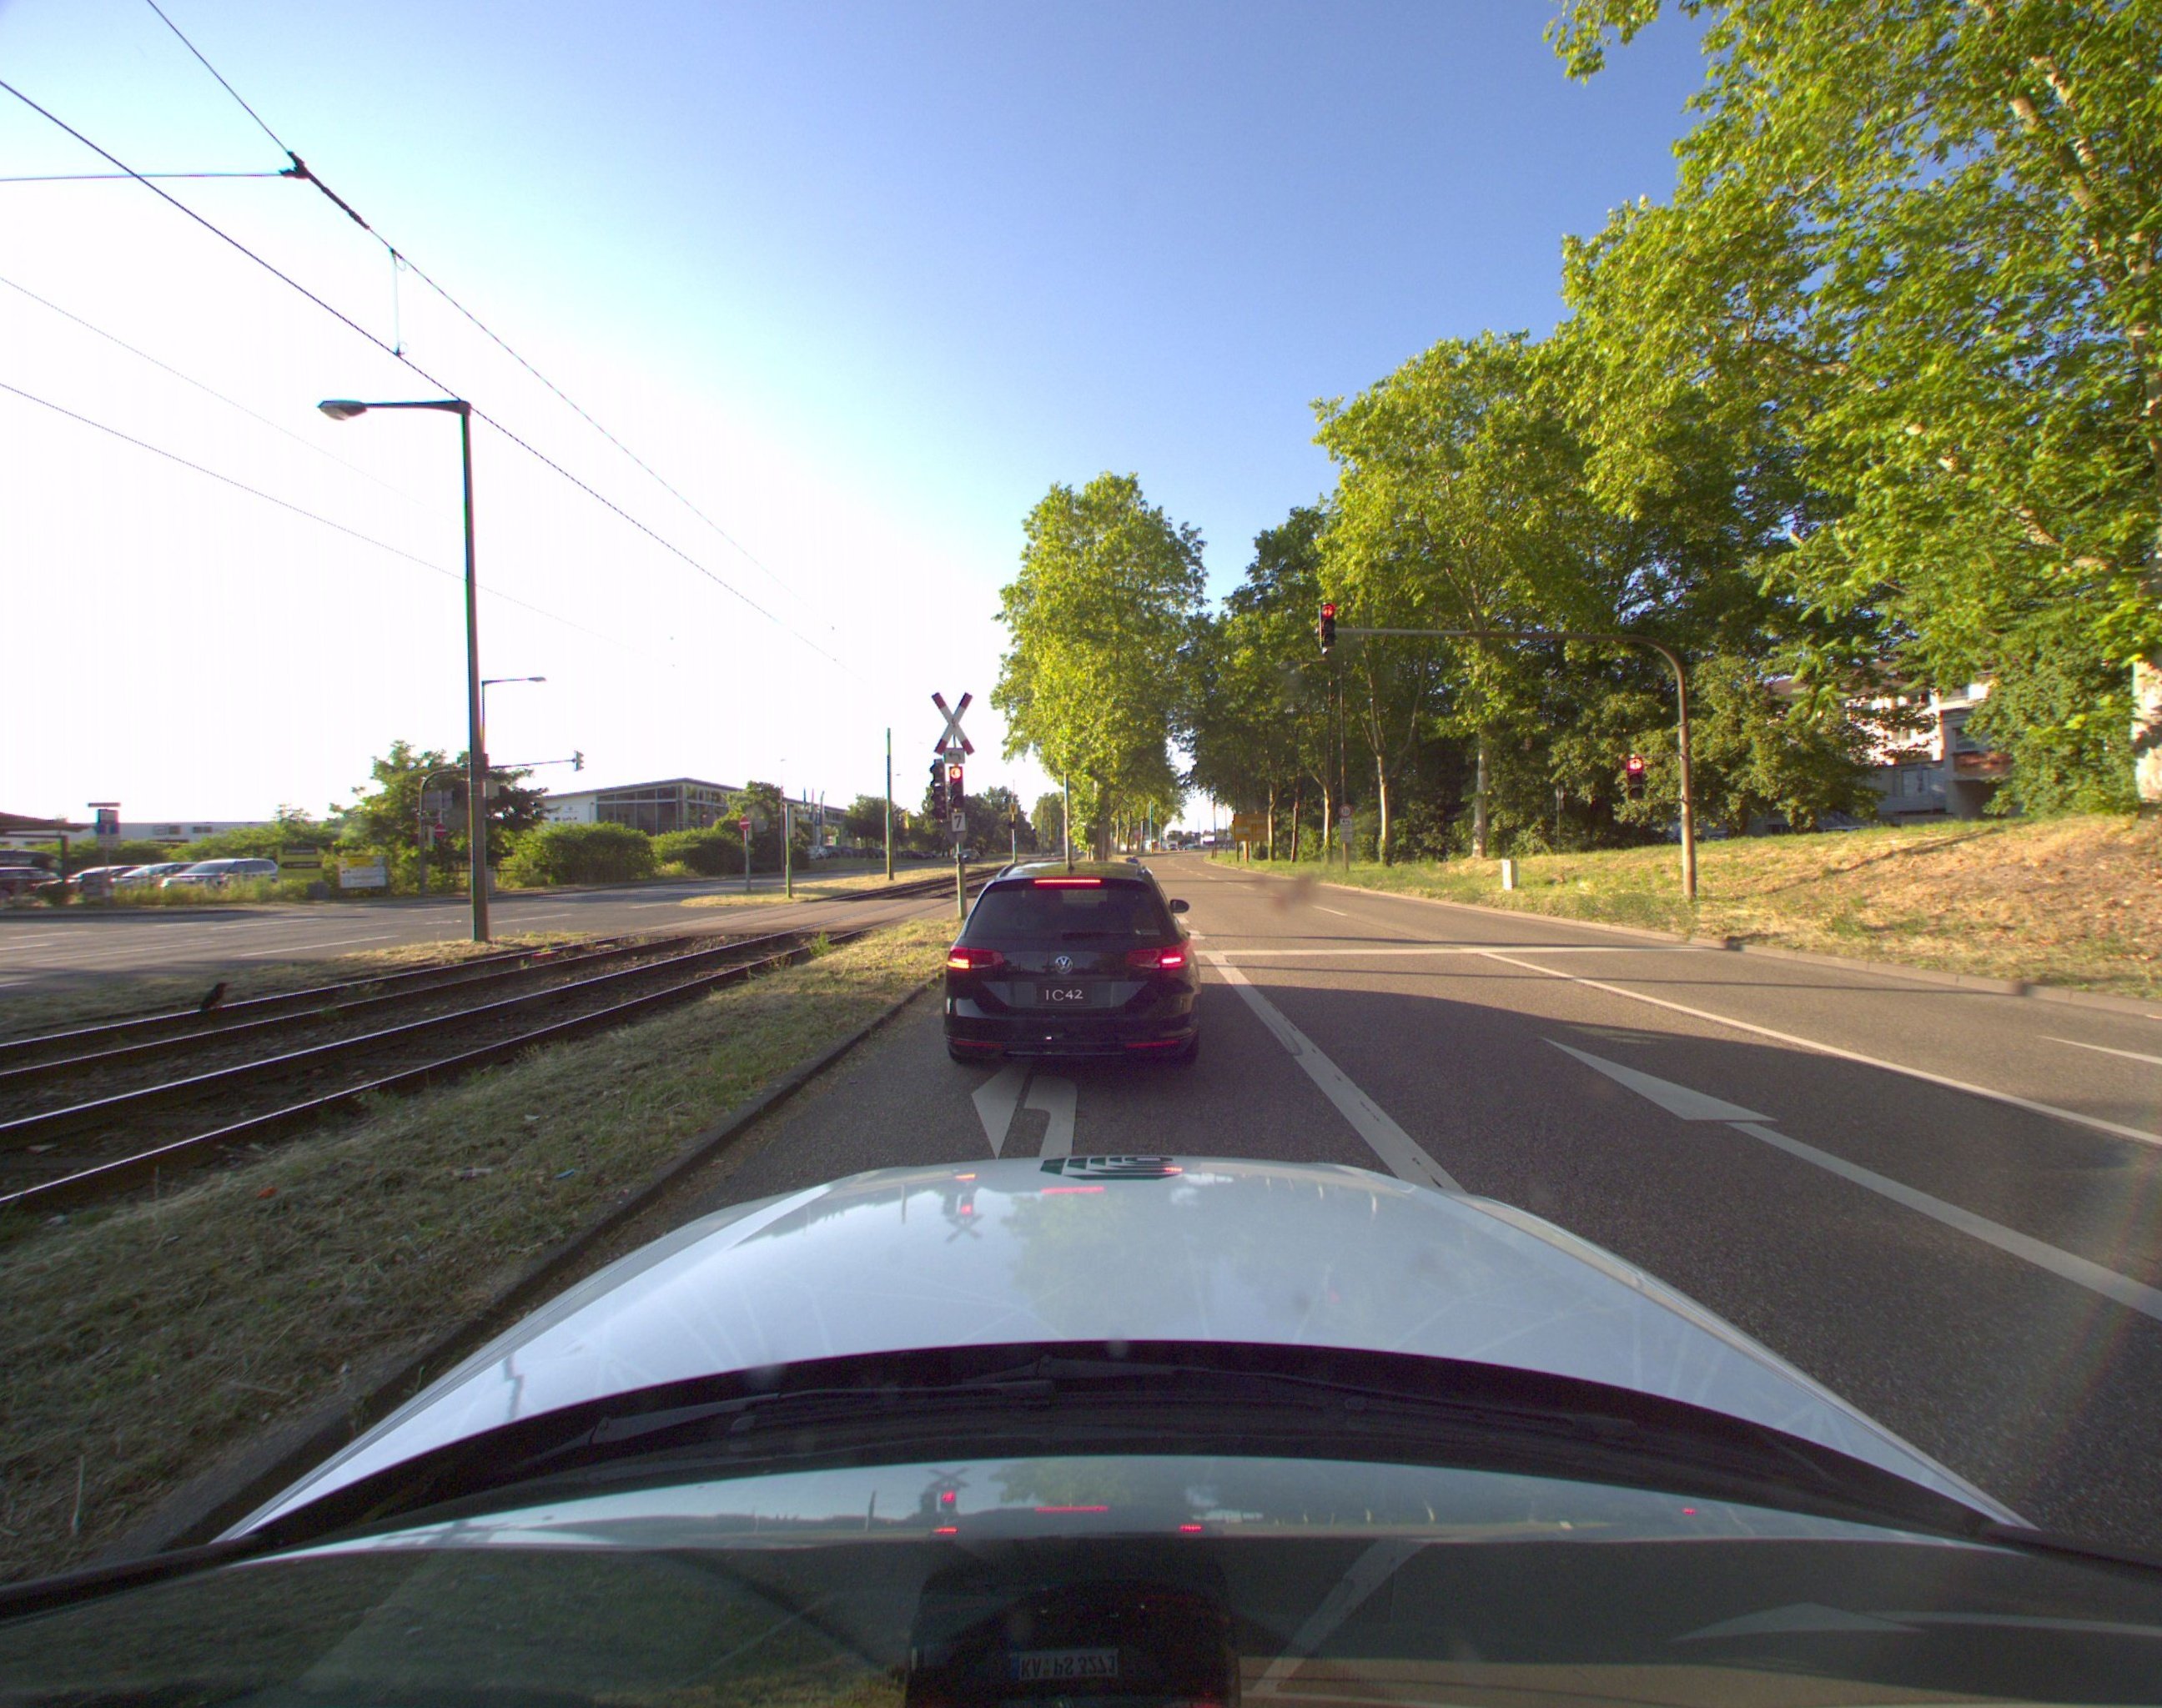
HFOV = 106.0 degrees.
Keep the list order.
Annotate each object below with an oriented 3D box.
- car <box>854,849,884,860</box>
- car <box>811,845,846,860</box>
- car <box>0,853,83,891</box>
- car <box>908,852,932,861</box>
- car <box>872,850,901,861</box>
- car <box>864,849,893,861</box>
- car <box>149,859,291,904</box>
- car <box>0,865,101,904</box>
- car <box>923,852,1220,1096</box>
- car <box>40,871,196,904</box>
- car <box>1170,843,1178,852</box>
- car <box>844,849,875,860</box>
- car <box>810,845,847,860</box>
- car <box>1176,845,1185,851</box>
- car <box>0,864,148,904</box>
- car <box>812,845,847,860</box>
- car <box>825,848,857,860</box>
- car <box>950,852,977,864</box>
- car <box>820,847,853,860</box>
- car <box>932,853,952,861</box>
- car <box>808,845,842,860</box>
[{"bbox_3d":[-31.006,0.134,119.015,3.980,1.556,1.741,-1,0,-5],"label":"car"},{"bbox_3d":[-29.951,-0.151,96.571,3.999,1.704,1.732,-1,0,-19],"label":"car"},{"bbox_3d":[-60.419,0.998,46.093,1.855,2.014,4.773,0,0,2],"label":"car"},{"bbox_3d":[-29.107,0.392,147.031,3.978,1.621,1.742,-1,0,-3],"label":"car"},{"bbox_3d":[-30.121,0.181,126.137,3.978,1.621,1.742,-1,0,-3],"label":"car"},{"bbox_3d":[-30.609,0.147,122.936,3.978,1.621,1.742,-1,0,-3],"label":"car"},{"bbox_3d":[-38.520,1.198,36.601,1.855,1.821,4.174,0,0,2],"label":"car"},{"bbox_3d":[-47.157,1.329,36.235,1.970,1.583,4.174,0,1,2],"label":"car"},{"bbox_3d":[-0.014,0.721,6.713,1.788,1.464,3.584,0,0,1],"label":"car"},{"bbox_3d":[-42.468,1.440,36.080,1.855,1.266,4.174,0,1,2],"label":"car"},{"bbox_3d":[26.514,-1.934,232.251,2.086,2.461,5.857,0,0,3],"label":"car"},{"bbox_3d":[-31.438,0.101,115.503,3.983,1.556,1.739,-1,0,-7],"label":"car"},{"bbox_3d":[-29.261,-0.161,94.302,3.999,1.704,1.732,-1,0,-19],"label":"car"},{"bbox_3d":[24.568,-1.414,201.381,1.856,1.481,4.090,-1,0,-1],"label":"car"},{"bbox_3d":[-44.708,1.281,36.083,1.855,1.583,4.174,0,1,2],"label":"car"},{"bbox_3d":[-30.603,-0.194,98.926,3.999,1.816,1.732,-1,0,-19],"label":"car"},{"bbox_3d":[-31.366,-0.001,106.397,3.999,1.556,1.732,-1,0,-19],"label":"car"},{"bbox_3d":[-14.624,0.464,101.528,1.848,1.481,4.190,0,1,16],"label":"car"},{"bbox_3d":[-31.152,-0.036,103.606,3.999,1.556,1.732,-1,0,-19],"label":"car"},{"bbox_3d":[-28.815,0.639,169.113,3.977,1.556,1.742,-1,0,-2],"label":"car"},{"bbox_3d":[-31.646,-0.197,100.706,3.999,1.816,1.732,-1,0,-19],"label":"car"}]
